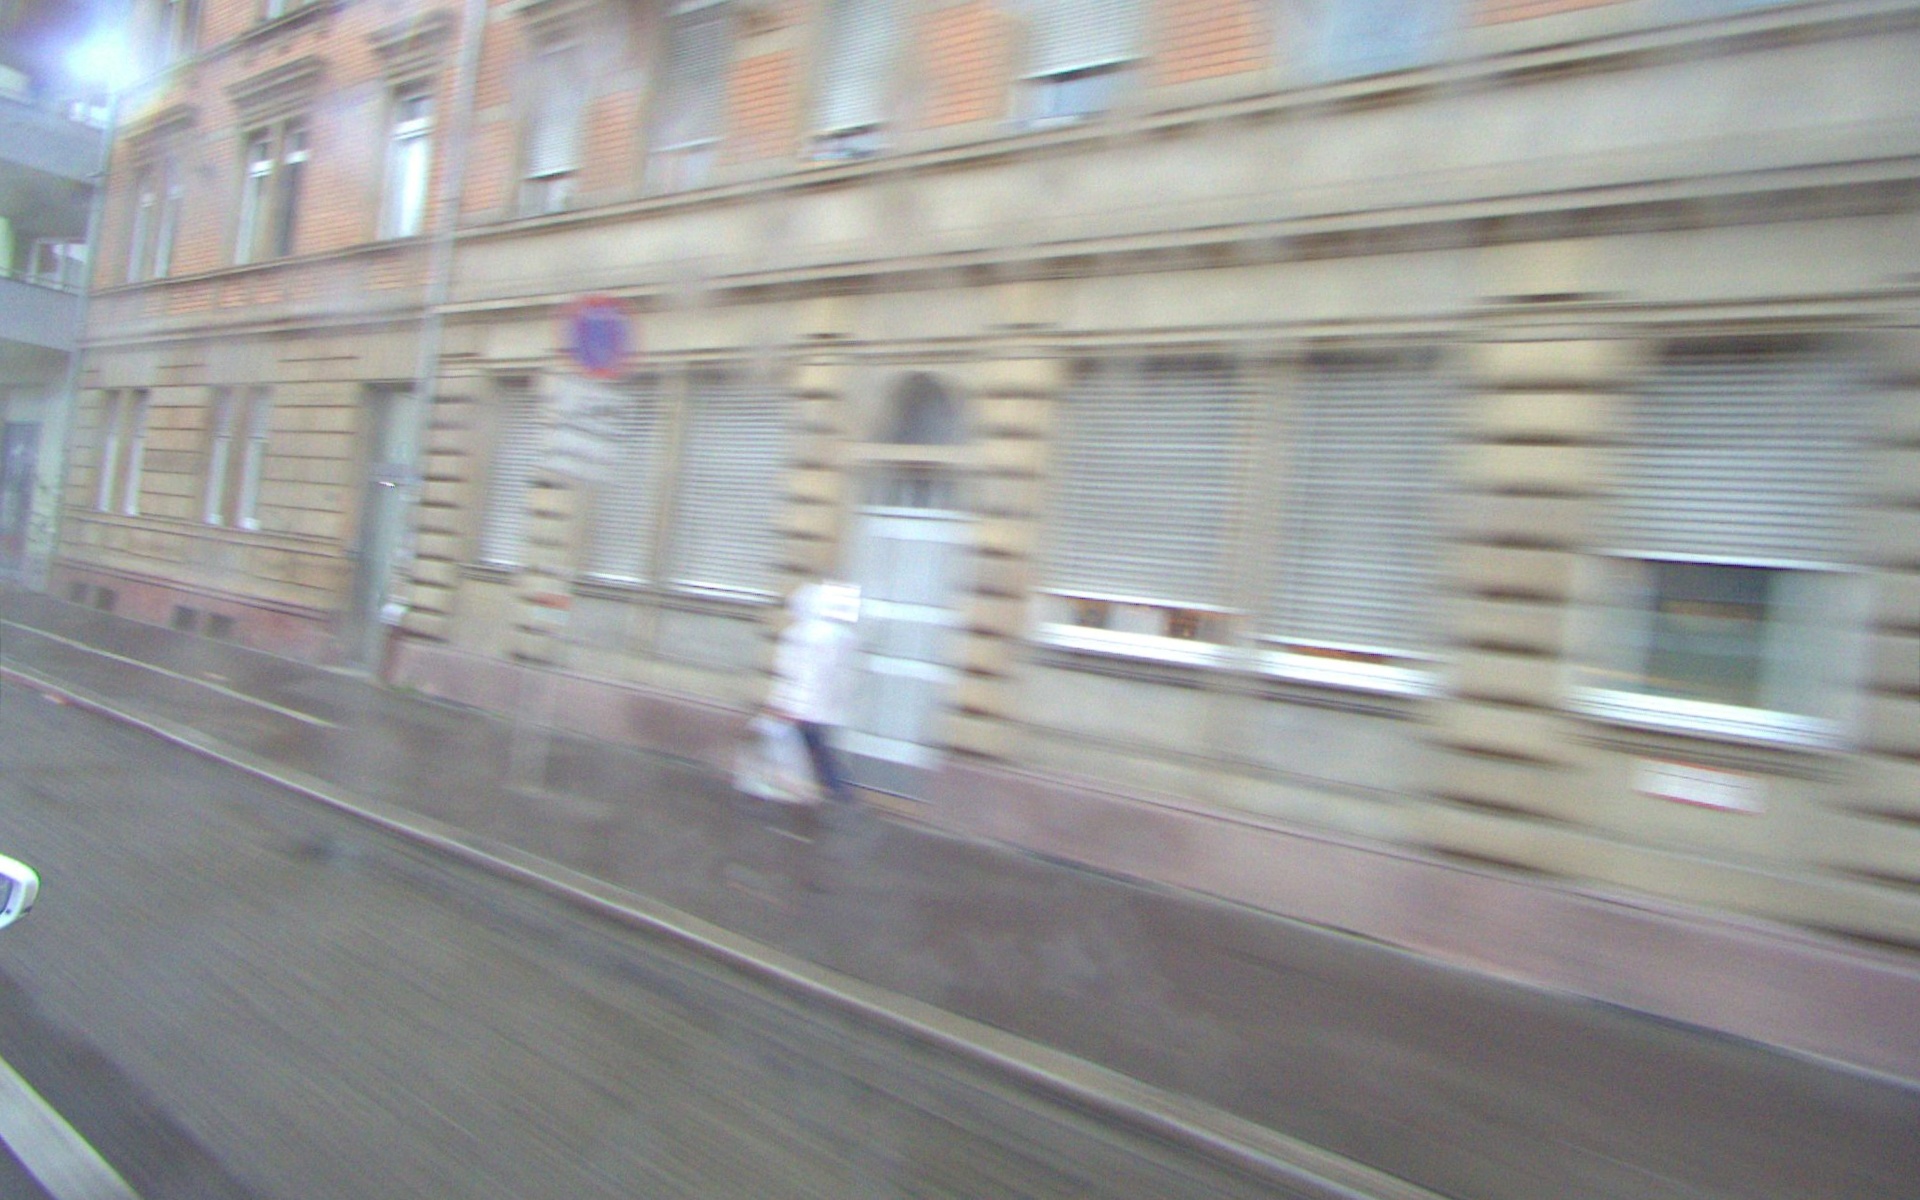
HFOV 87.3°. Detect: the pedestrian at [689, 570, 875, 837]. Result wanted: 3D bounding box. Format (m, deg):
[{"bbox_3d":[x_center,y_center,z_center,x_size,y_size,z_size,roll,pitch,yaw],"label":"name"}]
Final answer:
[{"bbox_3d":[-1.189,0.670,6.790,0.730,1.616,0.787,7,0,33],"label":"pedestrian"}]
